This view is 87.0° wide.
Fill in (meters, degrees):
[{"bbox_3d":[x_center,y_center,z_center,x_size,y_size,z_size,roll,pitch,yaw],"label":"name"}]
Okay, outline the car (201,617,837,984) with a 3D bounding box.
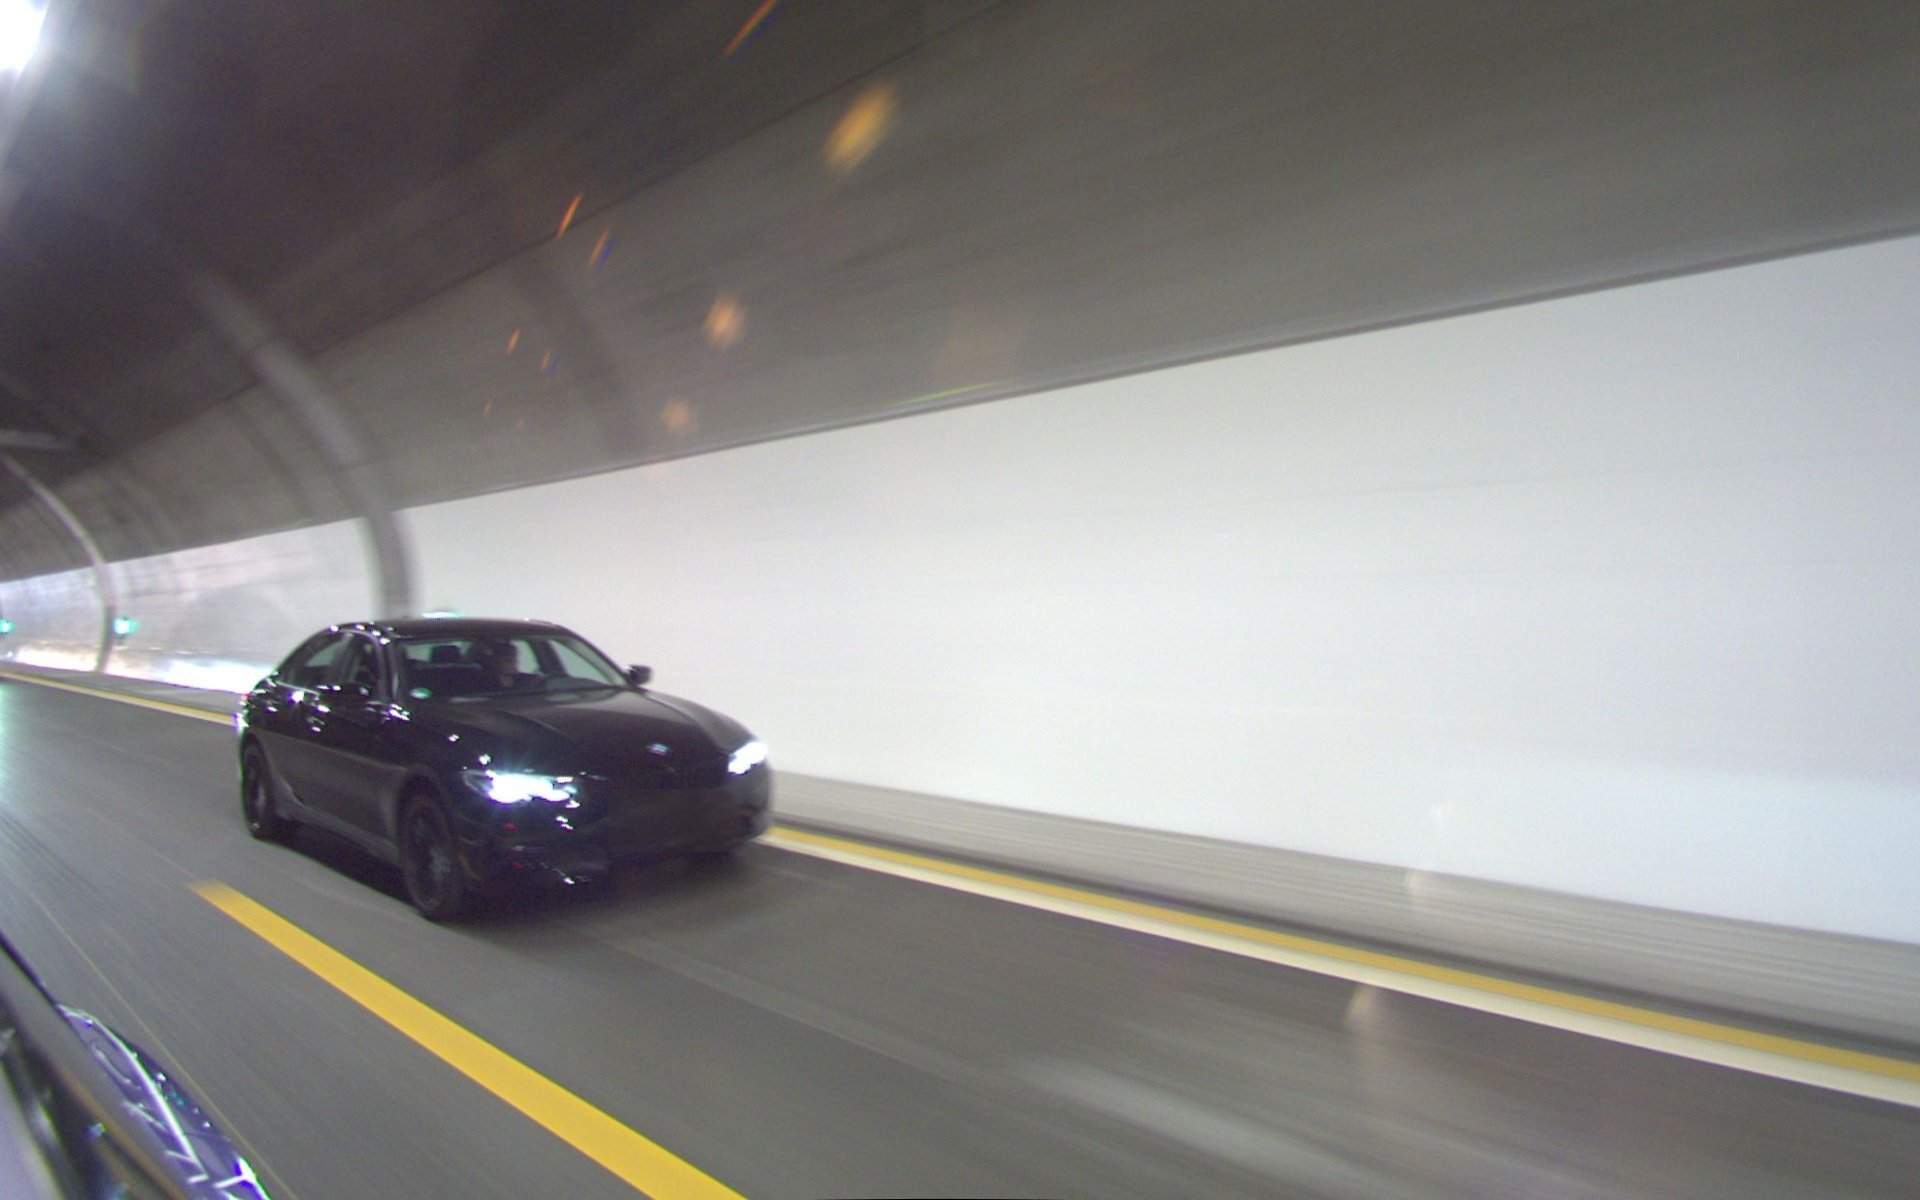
[{"bbox_3d":[-3.080,0.872,6.387,4.880,1.449,1.759,-2,0,41],"label":"car"}]
